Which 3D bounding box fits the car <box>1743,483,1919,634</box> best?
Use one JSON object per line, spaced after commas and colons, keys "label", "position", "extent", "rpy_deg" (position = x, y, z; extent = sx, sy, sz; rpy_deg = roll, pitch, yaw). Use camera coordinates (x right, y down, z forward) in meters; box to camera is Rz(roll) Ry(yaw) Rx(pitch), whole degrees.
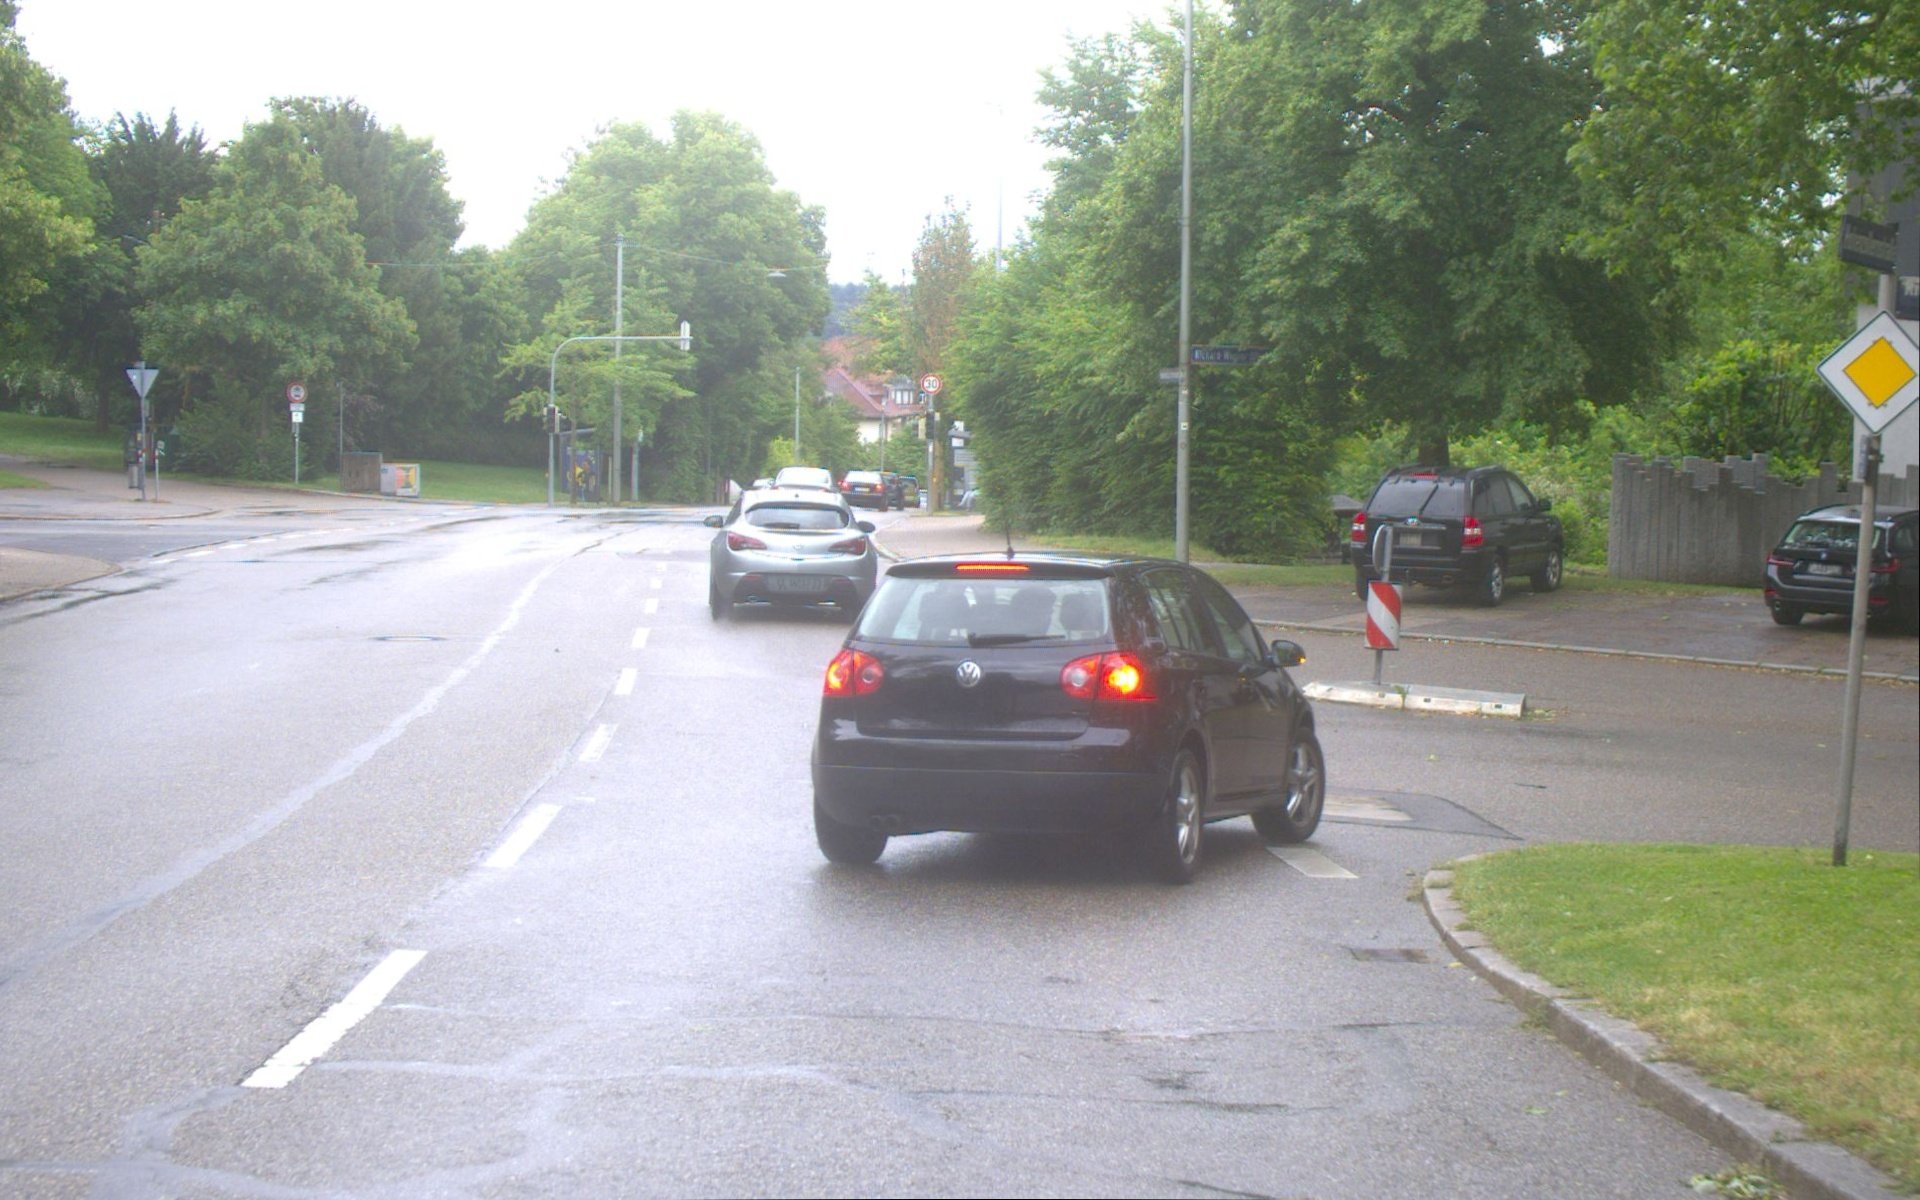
{"label": "car", "position": [11.257, -0.553, 41.778], "extent": [1.755, 1.464, 4.557], "rpy_deg": [5, 7, 35]}

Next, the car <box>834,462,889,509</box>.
{"label": "car", "position": [-3.388, -3.985, 119.211], "extent": [1.721, 1.459, 4.001], "rpy_deg": [4, 2, -1]}

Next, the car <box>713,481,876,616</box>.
{"label": "car", "position": [-1.951, -0.622, 39.597], "extent": [1.754, 1.459, 4.001], "rpy_deg": [1, 2, -4]}

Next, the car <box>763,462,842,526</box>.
{"label": "car", "position": [-3.935, -2.680, 86.408], "extent": [1.721, 1.459, 4.001], "rpy_deg": [4, 2, -1]}

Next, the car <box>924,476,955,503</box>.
{"label": "car", "position": [-1.239, -6.563, 204.583], "extent": [1.721, 1.459, 4.001], "rpy_deg": [4, 2, -1]}

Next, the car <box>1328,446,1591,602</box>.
{"label": "car", "position": [6.550, -1.041, 44.623], "extent": [1.950, 1.683, 4.897], "rpy_deg": [4, 6, 25]}

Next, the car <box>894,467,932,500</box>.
{"label": "car", "position": [-2.286, -5.656, 167.184], "extent": [1.721, 1.459, 4.001], "rpy_deg": [4, 2, -1]}

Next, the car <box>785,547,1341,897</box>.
{"label": "car", "position": [0.639, 0.512, 16.853], "extent": [1.723, 1.459, 3.997], "rpy_deg": [1, 1, 17]}

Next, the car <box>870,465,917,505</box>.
{"label": "car", "position": [-2.649, -4.616, 137.620], "extent": [1.721, 1.459, 4.001], "rpy_deg": [4, 2, -1]}
